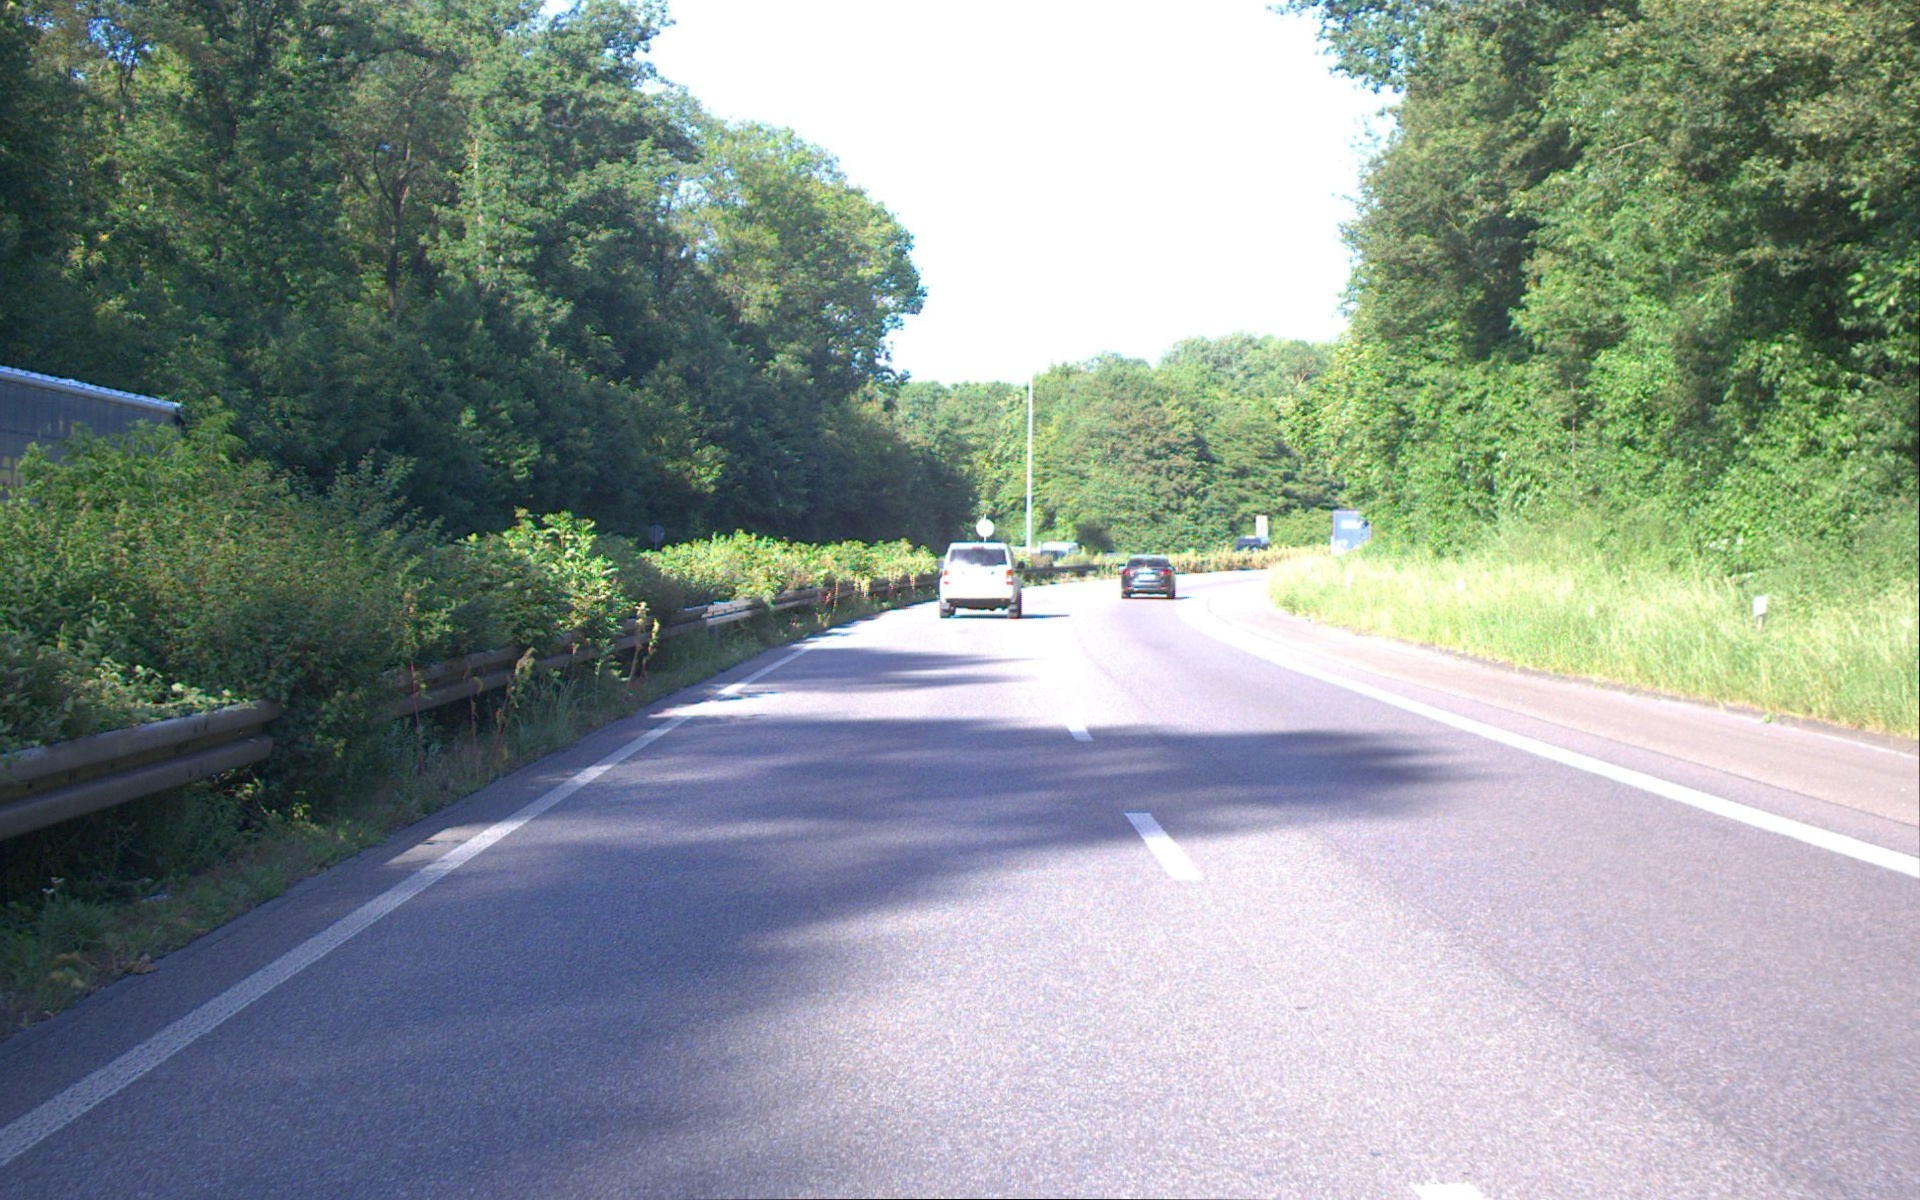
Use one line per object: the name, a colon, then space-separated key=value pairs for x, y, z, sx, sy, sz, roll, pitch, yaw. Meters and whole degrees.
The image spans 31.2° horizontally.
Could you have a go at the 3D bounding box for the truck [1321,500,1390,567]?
truck: x=26.460 y=-4.426 z=229.382 sx=3.736 sy=4.328 sz=9.299 roll=1 pitch=1 yaw=12

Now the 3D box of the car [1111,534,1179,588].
car: x=6.295 y=-1.341 z=117.483 sx=1.951 sy=1.776 sz=4.588 roll=1 pitch=1 yaw=-1

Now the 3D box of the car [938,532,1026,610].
car: x=0.498 y=-0.694 z=81.474 sx=1.951 sy=1.776 sz=4.588 roll=1 pitch=1 yaw=-1

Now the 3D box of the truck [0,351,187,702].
truck: x=-12.526 y=-0.896 z=42.616 sx=2.707 sy=4.082 sz=14.022 roll=1 pitch=1 yaw=0
